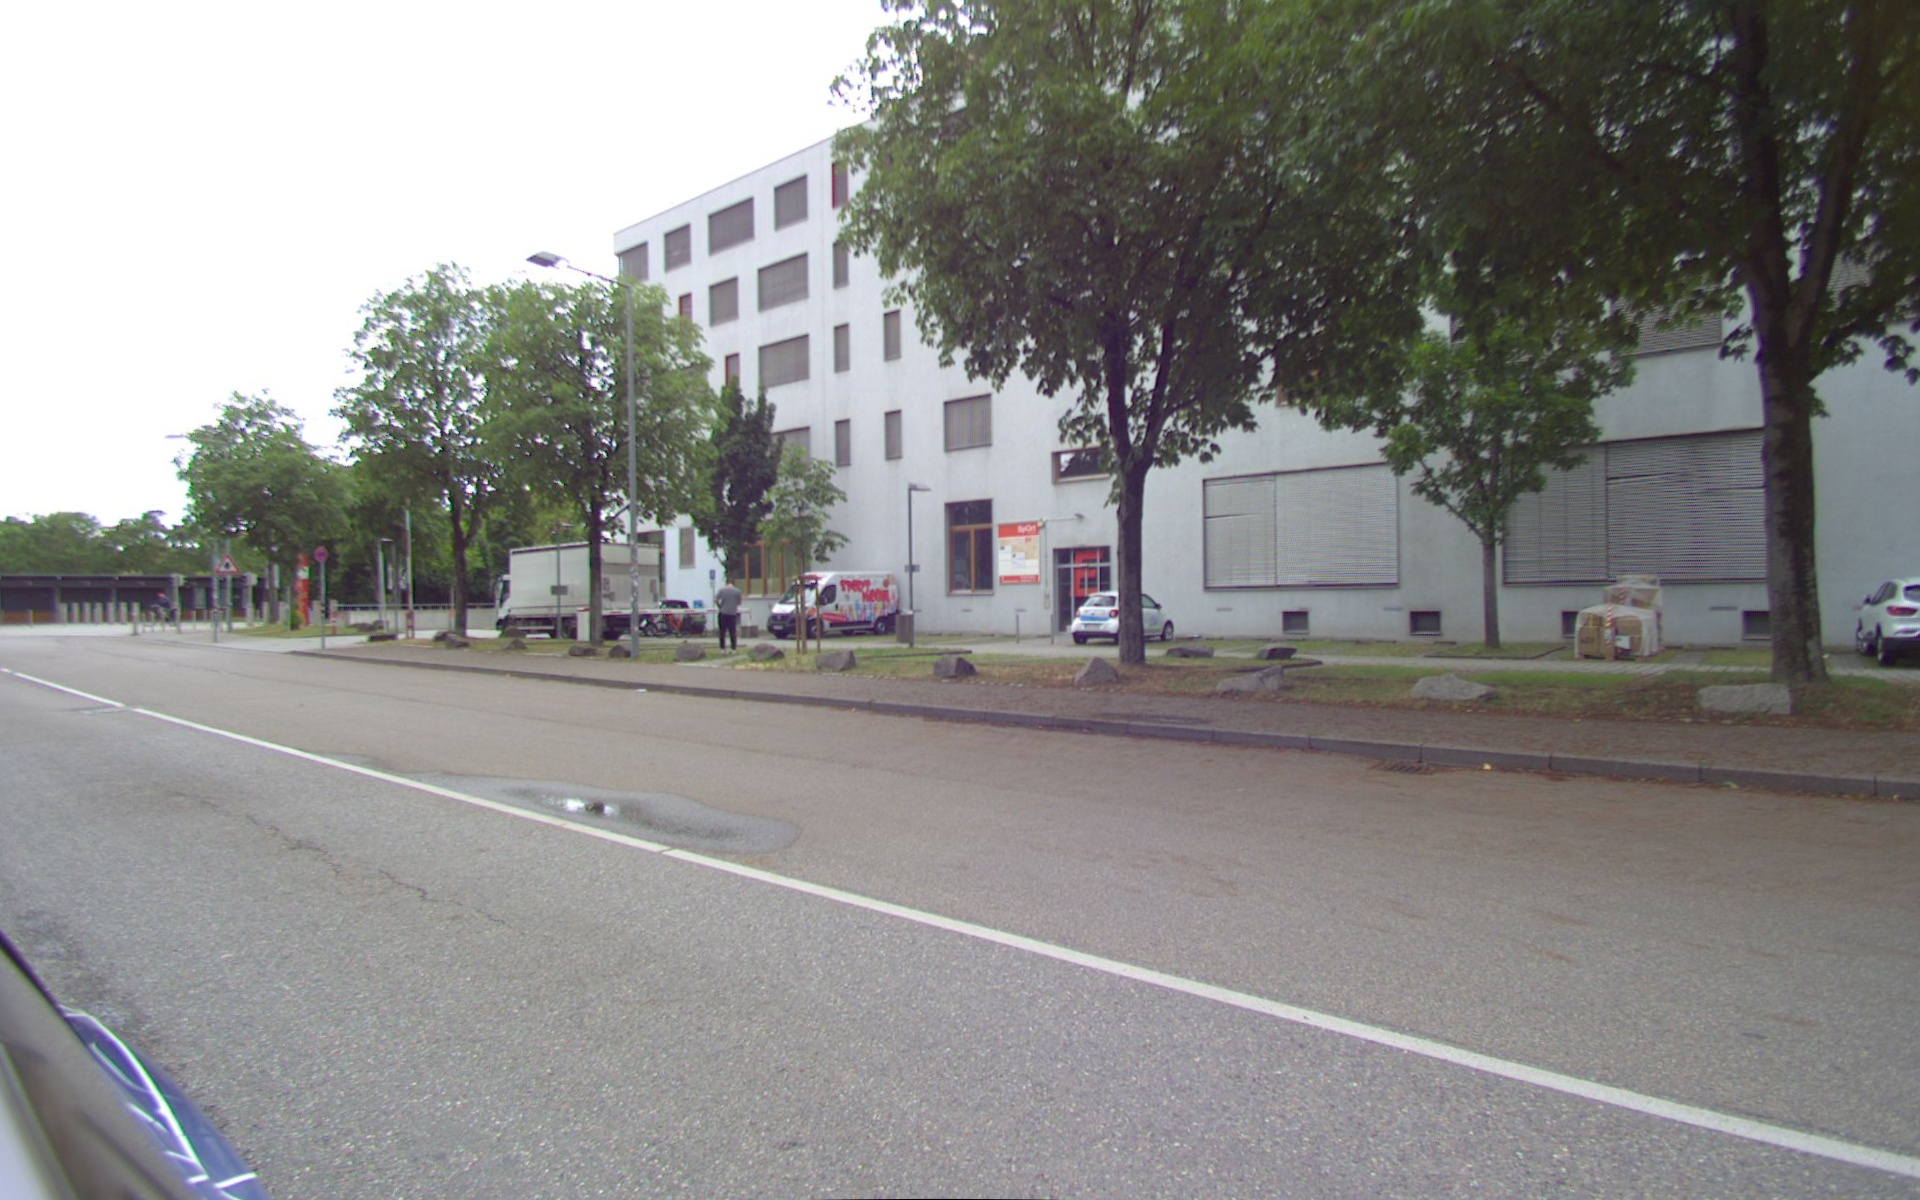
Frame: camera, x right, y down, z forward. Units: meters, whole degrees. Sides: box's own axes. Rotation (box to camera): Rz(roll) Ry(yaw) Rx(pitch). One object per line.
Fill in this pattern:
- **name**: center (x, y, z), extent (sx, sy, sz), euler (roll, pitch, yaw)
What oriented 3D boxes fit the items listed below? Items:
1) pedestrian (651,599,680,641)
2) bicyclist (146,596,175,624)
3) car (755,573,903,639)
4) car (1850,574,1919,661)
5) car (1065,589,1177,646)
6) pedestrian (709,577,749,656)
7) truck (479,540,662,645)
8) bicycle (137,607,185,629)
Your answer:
- **pedestrian**: center (-11.506, 0.766, 39.559), extent (0.885, 1.618, 0.672), euler (0, 1, 34)
- **bicyclist**: center (-44.971, 0.535, 56.955), extent (0.927, 1.507, 1.087), euler (1, 2, 39)
- **car**: center (-4.824, 0.146, 38.102), extent (2.078, 2.296, 5.569), euler (0, 1, 40)
- **car**: center (17.933, 0.266, 18.658), extent (1.896, 1.467, 3.962), euler (0, 1, 36)
- **car**: center (4.787, 0.463, 29.832), extent (1.691, 1.511, 3.575), euler (0, 1, 40)
- **pedestrian**: center (-5.053, 0.340, 22.197), extent (0.774, 1.684, 0.847), euler (-1, 1, -8)
- **truck**: center (-15.103, -0.314, 38.878), extent (8.354, 3.627, 2.651), euler (0, 1, 38)
- **bicycle**: center (-44.967, 1.013, 56.968), extent (0.777, 1.152, 2.025), euler (1, 2, 39)
